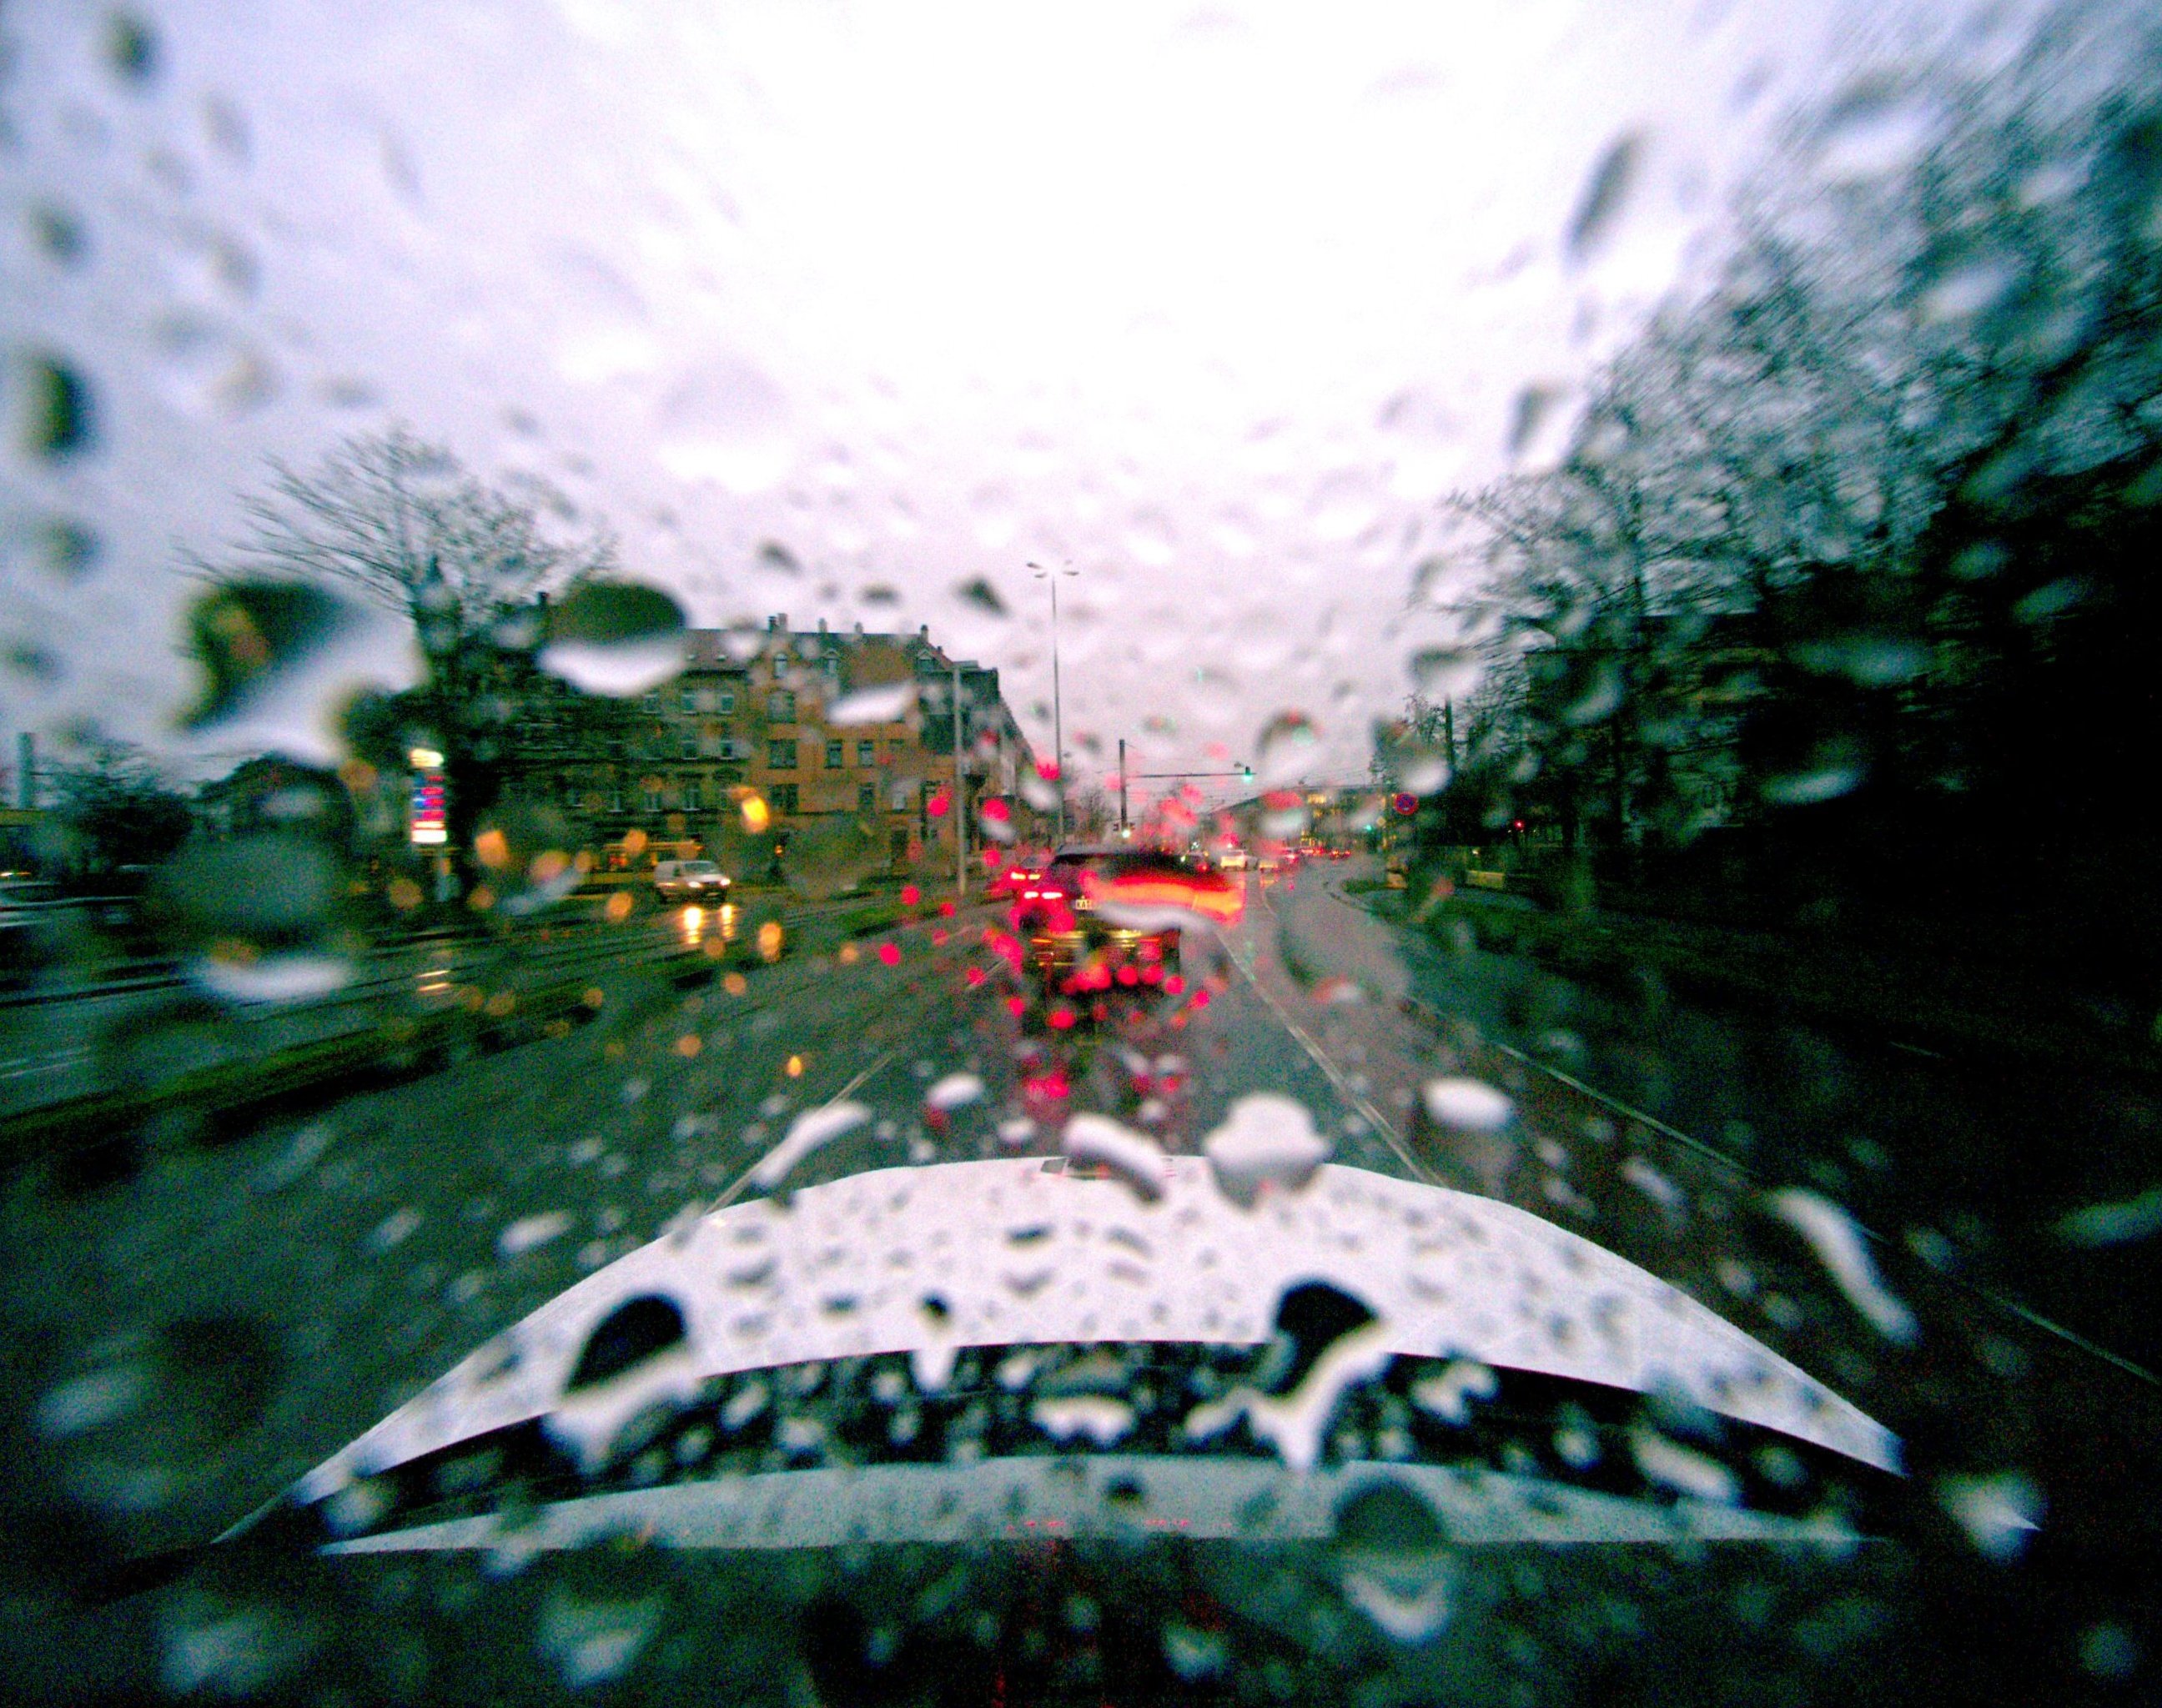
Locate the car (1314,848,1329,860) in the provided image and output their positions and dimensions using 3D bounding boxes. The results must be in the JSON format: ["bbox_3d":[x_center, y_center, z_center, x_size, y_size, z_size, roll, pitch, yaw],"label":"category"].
[{"bbox_3d":[31.042,-0.005,105.216,1.733,1.459,3.539,-2,0,14],"label":"car"}]

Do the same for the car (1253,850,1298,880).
[{"bbox_3d":[12.569,0.703,52.422,1.975,1.765,4.024,-2,0,26],"label":"car"}]

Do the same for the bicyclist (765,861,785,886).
[{"bbox_3d":[-17.140,1.075,45.682,0.971,1.390,0.502,-1,0,-28],"label":"bicyclist"}]

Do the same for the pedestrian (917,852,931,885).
[{"bbox_3d":[-8.592,0.777,44.593,0.463,1.772,0.632,-1,0,21],"label":"pedestrian"}]

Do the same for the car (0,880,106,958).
[{"bbox_3d":[-24.051,1.433,17.375,3.982,1.530,1.776,-2,0,-6],"label":"car"}]

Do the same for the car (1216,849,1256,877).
[{"bbox_3d":[10.840,0.620,56.738,1.976,1.765,4.021,-2,0,21],"label":"car"}]

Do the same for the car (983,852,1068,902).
[{"bbox_3d":[-1.674,0.671,25.854,1.983,1.398,4.007,-2,0,6],"label":"car"}]

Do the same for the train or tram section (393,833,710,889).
[{"bbox_3d":[-31.810,0.370,49.796,16.251,3.188,3.159,-1,0,-9],"label":"train or tram section"}]

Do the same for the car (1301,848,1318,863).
[{"bbox_3d":[26.384,0.170,93.994,1.732,1.611,4.018,-2,0,17],"label":"car"}]

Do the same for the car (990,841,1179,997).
[{"bbox_3d":[0.082,0.692,10.791,1.984,1.616,4.001,-2,0,1],"label":"car"}]

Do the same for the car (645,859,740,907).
[{"bbox_3d":[-18.161,1.363,37.939,4.791,1.946,2.013,-4,0,39],"label":"car"}]

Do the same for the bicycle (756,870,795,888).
[{"bbox_3d":[-17.138,1.409,45.681,1.990,0.900,0.502,-1,1,-28],"label":"bicycle"}]

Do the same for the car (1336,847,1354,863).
[{"bbox_3d":[28.707,0.106,88.538,1.732,1.611,4.018,-2,0,17],"label":"car"}]

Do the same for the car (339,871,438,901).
[{"bbox_3d":[-37.315,1.699,43.938,3.827,1.450,1.649,-1,0,-1],"label":"car"}]

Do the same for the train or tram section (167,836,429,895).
[{"bbox_3d":[-45.299,0.615,47.542,11.111,3.237,3.159,-1,0,-9],"label":"train or tram section"}]

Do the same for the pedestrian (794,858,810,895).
[{"bbox_3d":[-13.773,1.102,40.240,0.626,1.792,0.530,-1,0,-13],"label":"pedestrian"}]

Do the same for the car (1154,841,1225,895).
[{"bbox_3d":[4.014,0.463,29.536,1.979,1.765,4.016,-2,0,15],"label":"car"}]
